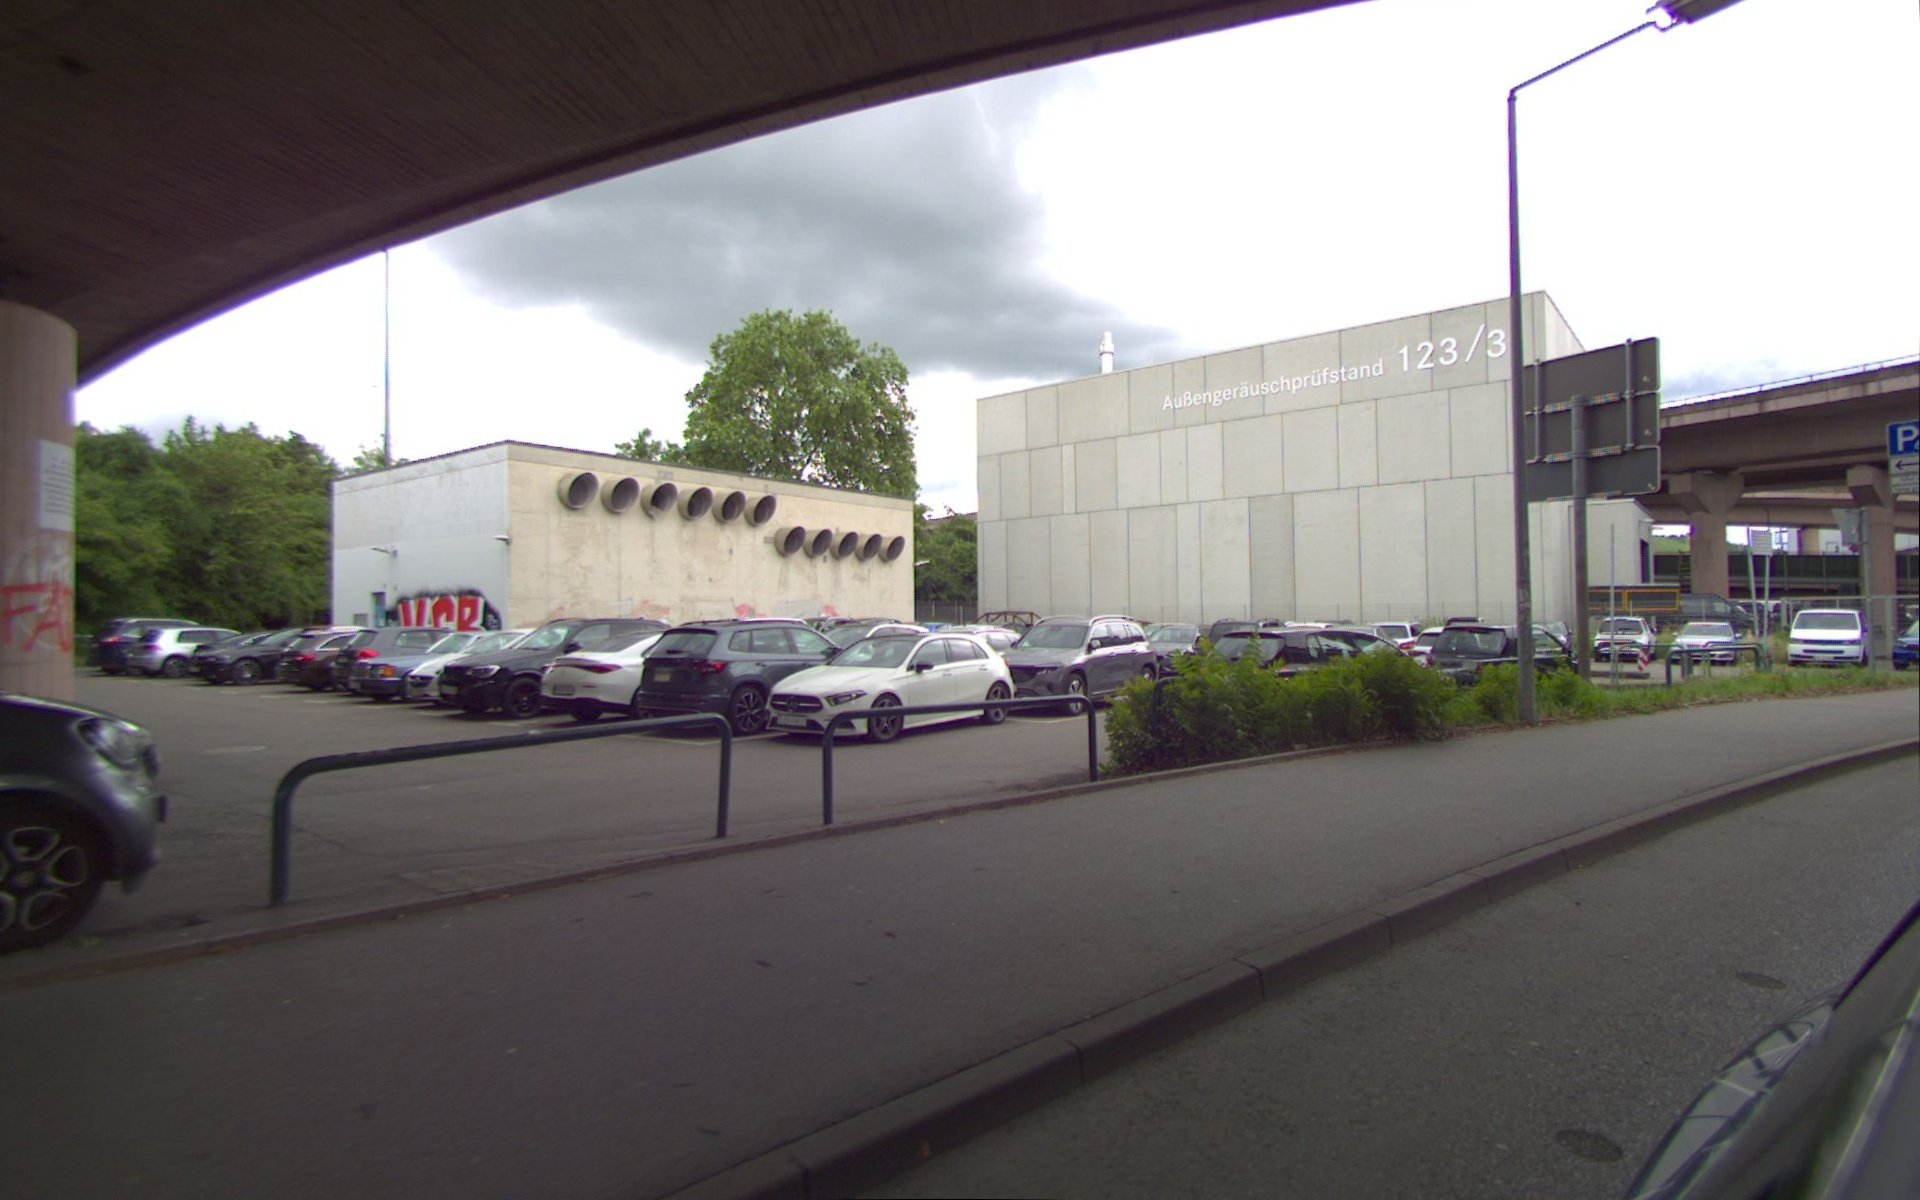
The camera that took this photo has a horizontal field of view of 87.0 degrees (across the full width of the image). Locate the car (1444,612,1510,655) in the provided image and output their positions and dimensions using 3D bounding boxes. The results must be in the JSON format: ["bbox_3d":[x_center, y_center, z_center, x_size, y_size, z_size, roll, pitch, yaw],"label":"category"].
[{"bbox_3d":[19.785,1.254,38.698,1.616,1.564,3.053,-1,-1,40],"label":"car"}]

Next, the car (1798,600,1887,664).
[{"bbox_3d":[29.255,0.997,33.497,4.604,1.982,1.888,0,-1,-45],"label":"car"}]

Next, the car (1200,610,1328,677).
[{"bbox_3d":[8.265,1.101,27.238,1.847,1.649,4.559,-1,-1,37],"label":"car"}]

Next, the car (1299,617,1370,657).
[{"bbox_3d":[15.245,1.466,41.080,1.763,1.475,4.308,-1,-1,33],"label":"car"}]

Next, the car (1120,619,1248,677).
[{"bbox_3d":[6.409,1.300,28.569,1.847,1.462,4.559,-1,-1,37],"label":"car"}]

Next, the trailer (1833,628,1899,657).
[{"bbox_3d":[33.485,1.550,37.441,1.474,0.910,2.529,-1,0,35],"label":"trailer"}]

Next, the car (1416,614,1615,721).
[{"bbox_3d":[8.742,0.995,15.926,2.705,1.498,1.546,0,-1,-30],"label":"car"}]

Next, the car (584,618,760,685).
[{"bbox_3d":[-7.291,1.251,25.974,1.698,1.528,4.205,-1,-1,36],"label":"car"}]

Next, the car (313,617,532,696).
[{"bbox_3d":[-12.317,1.220,23.427,1.827,1.613,4.137,-1,-1,36],"label":"car"}]

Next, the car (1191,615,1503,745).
[{"bbox_3d":[5.345,0.986,13.861,4.164,1.498,1.737,0,-1,-30],"label":"car"}]

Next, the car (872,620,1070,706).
[{"bbox_3d":[0.337,1.169,20.221,1.746,1.467,4.401,-1,-1,36],"label":"car"}]

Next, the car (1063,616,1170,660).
[{"bbox_3d":[5.617,1.306,35.948,1.830,1.444,4.379,-1,-1,39],"label":"car"}]

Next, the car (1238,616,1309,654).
[{"bbox_3d":[13.385,1.438,43.063,1.763,1.475,4.308,-1,-1,33],"label":"car"}]

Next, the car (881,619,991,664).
[{"bbox_3d":[-0.774,1.389,34.949,1.759,1.410,3.923,-1,-1,37],"label":"car"}]

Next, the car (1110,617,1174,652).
[{"bbox_3d":[8.523,1.564,47.134,1.487,1.478,4.016,-1,-1,33],"label":"car"}]

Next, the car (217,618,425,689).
[{"bbox_3d":[-16.148,1.295,25.761,1.827,1.613,4.137,-1,-1,36],"label":"car"}]

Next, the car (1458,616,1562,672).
[{"bbox_3d":[15.618,1.190,28.645,1.830,1.444,4.379,-1,-1,39],"label":"car"}]

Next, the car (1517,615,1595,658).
[{"bbox_3d":[21.451,1.277,36.348,1.767,1.401,4.298,-1,-1,39],"label":"car"}]

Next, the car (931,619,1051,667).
[{"bbox_3d":[1.083,1.363,33.263,1.774,1.410,4.377,-1,-1,37],"label":"car"}]

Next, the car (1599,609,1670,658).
[{"bbox_3d":[23.937,1.132,35.880,1.766,1.608,4.301,-1,-1,38],"label":"car"}]

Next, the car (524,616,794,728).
[{"bbox_3d":[-4.940,1.091,17.095,1.827,1.613,4.137,-1,-1,36],"label":"car"}]

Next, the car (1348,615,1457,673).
[{"bbox_3d":[13.077,1.235,29.756,1.830,1.533,4.437,-1,-1,39],"label":"car"}]

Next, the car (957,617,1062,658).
[{"bbox_3d":[1.954,1.384,38.722,1.830,1.444,4.379,-1,-1,39],"label":"car"}]

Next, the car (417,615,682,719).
[{"bbox_3d":[-7.290,1.108,18.331,1.827,1.613,4.137,-1,-1,36],"label":"car"}]

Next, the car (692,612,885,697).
[{"bbox_3d":[-3.787,1.149,22.986,1.746,1.713,4.374,-1,-1,36],"label":"car"}]

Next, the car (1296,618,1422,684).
[{"bbox_3d":[10.246,1.219,25.781,1.847,1.494,4.624,-1,-1,37],"label":"car"}]

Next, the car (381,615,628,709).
[{"bbox_3d":[-8.911,1.135,20.093,1.827,1.613,4.137,-1,-1,36],"label":"car"}]

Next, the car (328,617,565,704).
[{"bbox_3d":[-10.732,1.181,21.417,1.827,1.613,4.137,-1,-1,36],"label":"car"}]

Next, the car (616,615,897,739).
[{"bbox_3d":[-2.985,1.055,15.632,1.827,1.613,4.137,-1,-1,36],"label":"car"}]

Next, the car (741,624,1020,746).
[{"bbox_3d":[-0.999,1.102,14.739,1.827,1.439,4.137,-1,-1,36],"label":"car"}]

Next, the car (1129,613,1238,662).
[{"bbox_3d":[7.672,1.221,34.440,1.830,1.533,4.437,-1,-1,39],"label":"car"}]

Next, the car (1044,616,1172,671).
[{"bbox_3d":[4.468,1.224,30.015,1.847,1.462,4.559,-1,-1,37],"label":"car"}]

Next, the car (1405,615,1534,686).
[{"bbox_3d":[12.324,1.136,24.331,1.849,1.494,4.620,-1,-1,39],"label":"car"}]

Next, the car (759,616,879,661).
[{"bbox_3d":[-5.105,1.363,37.132,1.759,1.552,4.429,-1,-1,37],"label":"car"}]

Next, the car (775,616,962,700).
[{"bbox_3d":[-1.834,1.147,21.470,1.746,1.577,4.034,-1,-1,36],"label":"car"}]

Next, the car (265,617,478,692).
[{"bbox_3d":[-14.234,1.257,24.680,1.827,1.613,4.137,-1,-1,36],"label":"car"}]

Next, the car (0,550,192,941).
[{"bbox_3d":[-5.138,0.609,3.883,3.353,1.553,1.607,0,-3,-44],"label":"car"}]

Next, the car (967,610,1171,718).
[{"bbox_3d":[2.111,1.049,18.464,1.735,1.696,4.411,-1,-1,36],"label":"car"}]

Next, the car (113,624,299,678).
[{"bbox_3d":[-22.435,1.455,30.255,1.827,1.427,4.137,-1,-1,36],"label":"car"}]

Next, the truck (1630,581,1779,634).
[{"bbox_3d":[44.495,0.472,60.592,6.903,2.970,3.003,-1,-2,43],"label":"truck"}]

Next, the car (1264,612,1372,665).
[{"bbox_3d":[11.323,1.156,31.853,1.830,1.533,4.437,-1,-1,39],"label":"car"}]

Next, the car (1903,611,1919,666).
[{"bbox_3d":[31.101,1.156,31.397,4.596,1.655,1.775,0,-1,-35],"label":"car"}]

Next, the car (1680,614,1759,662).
[{"bbox_3d":[25.950,1.245,34.525,1.768,1.475,4.486,-1,-1,42],"label":"car"}]

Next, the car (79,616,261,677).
[{"bbox_3d":[-24.402,1.387,31.389,1.827,1.710,4.137,-1,-1,36],"label":"car"}]

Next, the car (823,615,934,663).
[{"bbox_3d":[-2.819,1.332,35.731,1.759,1.552,3.923,-1,-1,37],"label":"car"}]

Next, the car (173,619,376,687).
[{"bbox_3d":[-18.188,1.334,27.006,1.827,1.613,4.137,-1,-1,36],"label":"car"}]
